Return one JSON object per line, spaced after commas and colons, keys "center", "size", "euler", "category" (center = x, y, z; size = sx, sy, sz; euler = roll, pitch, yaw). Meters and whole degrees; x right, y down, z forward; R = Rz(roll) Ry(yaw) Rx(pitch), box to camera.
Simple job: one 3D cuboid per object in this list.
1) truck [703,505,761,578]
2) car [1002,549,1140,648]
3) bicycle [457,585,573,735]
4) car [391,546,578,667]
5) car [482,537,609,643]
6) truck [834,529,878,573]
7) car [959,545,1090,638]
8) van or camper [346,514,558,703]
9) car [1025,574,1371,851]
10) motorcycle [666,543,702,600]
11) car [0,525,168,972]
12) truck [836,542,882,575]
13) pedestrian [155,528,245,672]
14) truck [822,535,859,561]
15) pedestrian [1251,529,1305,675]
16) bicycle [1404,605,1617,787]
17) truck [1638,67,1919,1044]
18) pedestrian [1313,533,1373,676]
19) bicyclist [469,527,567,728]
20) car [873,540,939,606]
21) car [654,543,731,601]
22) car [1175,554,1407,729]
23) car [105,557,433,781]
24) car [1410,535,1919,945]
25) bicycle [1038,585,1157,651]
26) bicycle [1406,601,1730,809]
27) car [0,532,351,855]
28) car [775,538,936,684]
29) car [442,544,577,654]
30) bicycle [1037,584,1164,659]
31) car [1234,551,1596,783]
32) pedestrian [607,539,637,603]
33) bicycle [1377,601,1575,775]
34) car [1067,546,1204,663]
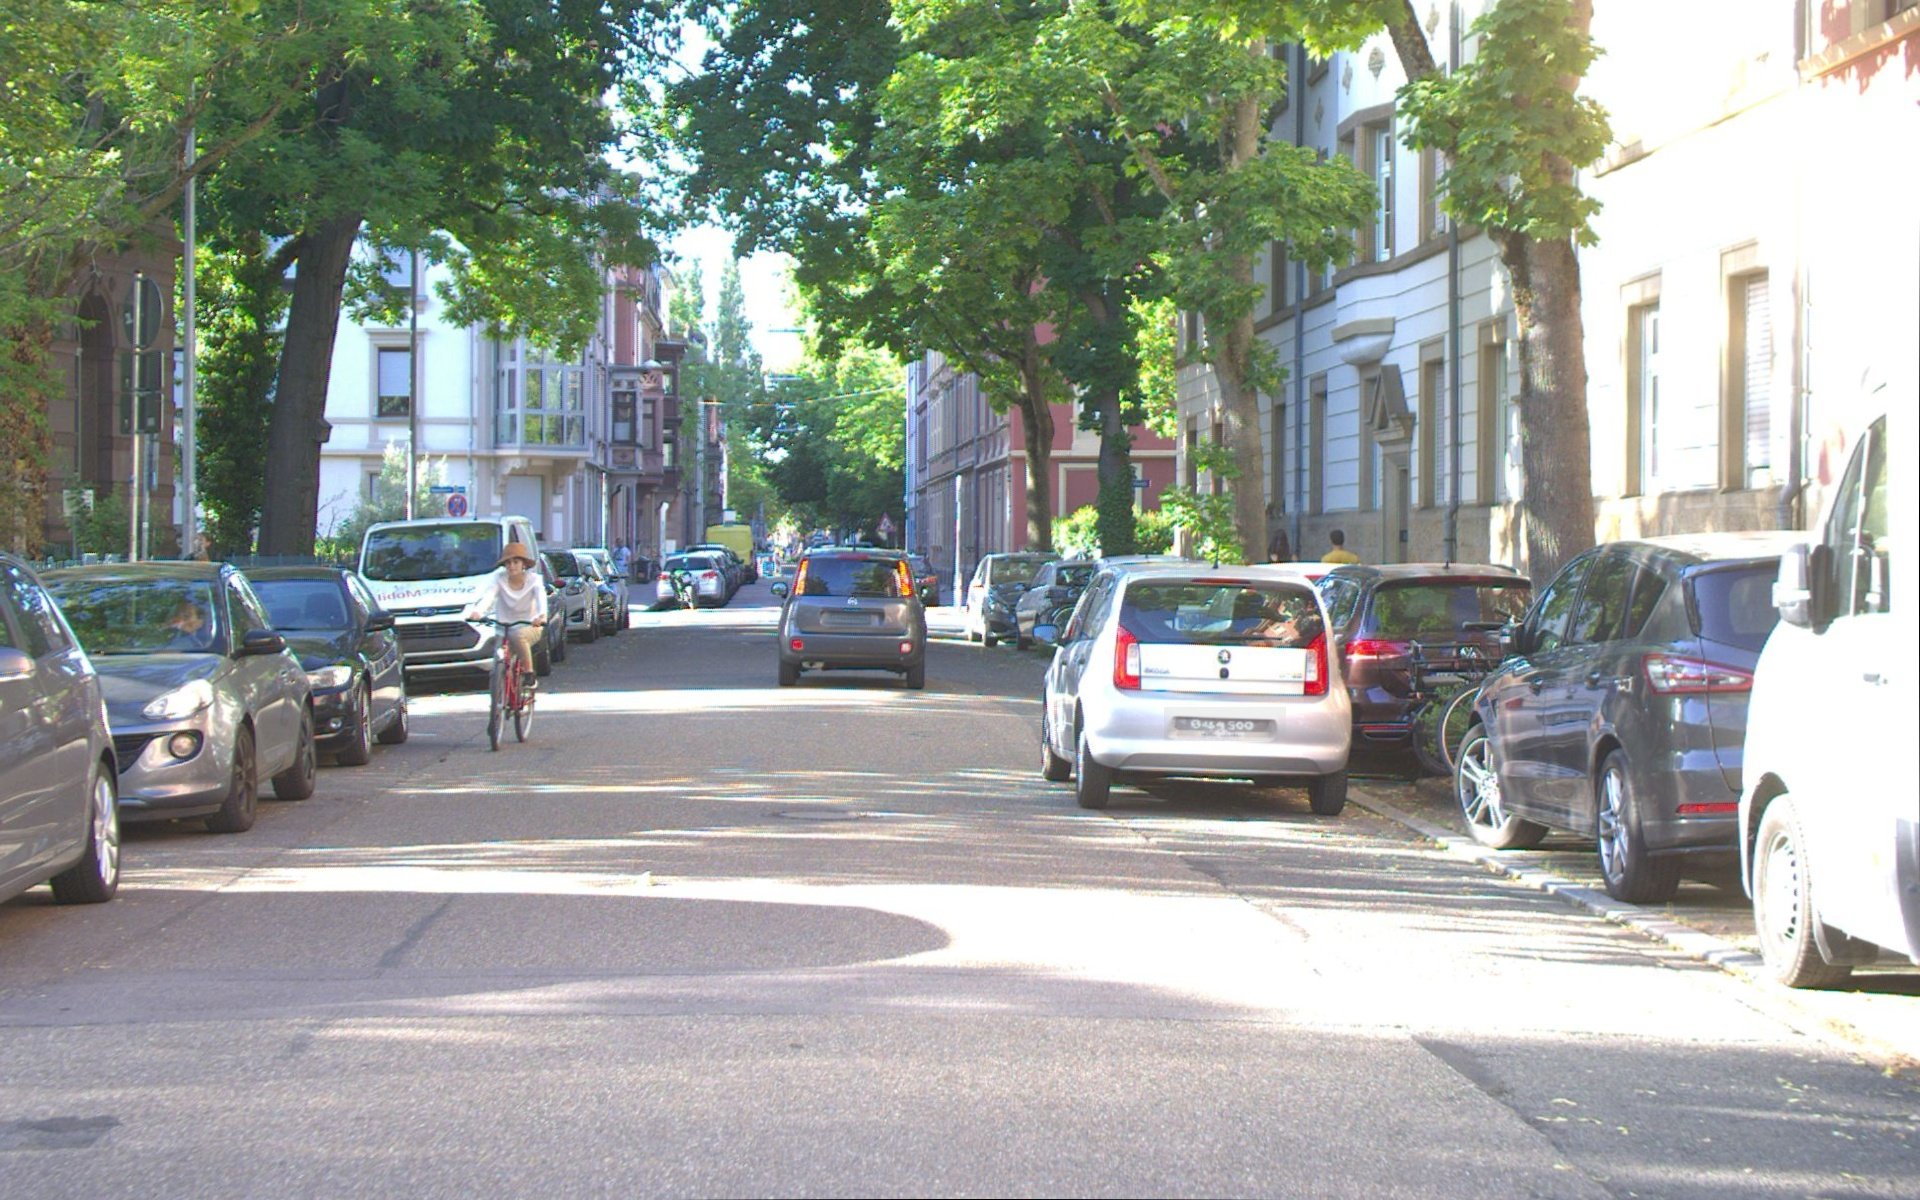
{"center": [-9.621, -2.484, 145.282], "size": [2.070, 2.916, 5.068], "euler": [-4, 1, -2], "category": "truck"}
{"center": [1.720, -0.049, 54.387], "size": [1.610, 1.473, 3.871], "euler": [0, 1, -7], "category": "car"}
{"center": [-3.381, 0.439, 26.211], "size": [0.665, 1.073, 1.685], "euler": [1, 1, 0], "category": "bicycle"}
{"center": [-6.269, 0.049, 45.785], "size": [2.000, 1.452, 4.606], "euler": [-2, 1, -2], "category": "car"}
{"center": [-6.719, -0.187, 56.046], "size": [1.824, 1.548, 4.134], "euler": [-4, 1, -5], "category": "car"}
{"center": [-4.835, -2.285, 159.187], "size": [1.993, 1.985, 4.001], "euler": [0, 1, -3], "category": "truck"}
{"center": [1.089, -0.172, 59.947], "size": [1.788, 1.545, 4.410], "euler": [0, 1, -5], "category": "car"}
{"center": [-5.869, 0.046, 40.278], "size": [1.921, 1.973, 5.462], "euler": [-3, 1, -4], "category": "van or camper"}
{"center": [1.423, 0.641, 21.900], "size": [1.678, 1.539, 3.801], "euler": [1, 1, -4], "category": "car"}
{"center": [-7.181, -0.741, 89.433], "size": [0.696, 1.455, 1.751], "euler": [-1, 1, -12], "category": "motorcycle"}
{"center": [-4.380, 0.535, 13.281], "size": [1.780, 1.585, 4.469], "euler": [-2, 1, -3], "category": "car"}
{"center": [-4.541, -1.861, 153.819], "size": [1.993, 1.451, 4.001], "euler": [0, 1, -3], "category": "truck"}
{"center": [-8.439, -0.004, 38.203], "size": [0.881, 1.572, 0.529], "euler": [1, 1, -2], "category": "pedestrian"}
{"center": [-6.740, -2.916, 193.332], "size": [1.993, 1.451, 4.001], "euler": [0, 1, -3], "category": "truck"}
{"center": [3.843, 0.016, 41.605], "size": [0.520, 1.729, 0.878], "euler": [1, 1, -1], "category": "pedestrian"}
{"center": [3.554, 0.615, 22.219], "size": [1.307, 1.136, 0.328], "euler": [-1, 1, -3], "category": "bicycle"}
{"center": [3.933, -0.152, 10.485], "size": [2.073, 2.958, 6.110], "euler": [-2, 1, -3], "category": "truck"}
{"center": [4.628, 0.047, 41.563], "size": [0.595, 1.696, 0.689], "euler": [1, 1, -1], "category": "pedestrian"}
{"center": [-3.371, 0.202, 26.258], "size": [0.651, 1.503, 0.625], "euler": [1, 1, -1], "category": "bicyclist"}
{"center": [-1.440, -0.725, 90.494], "size": [1.663, 1.663, 3.757], "euler": [1, 1, -2], "category": "car"}
{"center": [-7.196, -0.780, 92.732], "size": [1.797, 1.427, 3.925], "euler": [-3, 1, -2], "category": "car"}
{"center": [2.975, 0.332, 31.513], "size": [1.596, 1.483, 3.748], "euler": [-1, 1, -2], "category": "car"}
{"center": [-5.060, 0.437, 25.770], "size": [1.713, 1.390, 4.780], "euler": [-4, 1, -4], "category": "car"}
{"center": [3.645, 0.538, 16.903], "size": [1.885, 1.710, 4.945], "euler": [0, 1, -4], "category": "car"}
{"center": [2.038, 0.261, 51.075], "size": [1.715, 0.946, 0.733], "euler": [-1, 1, -2], "category": "bicycle"}
{"center": [3.664, 0.623, 20.770], "size": [1.810, 1.163, 0.569], "euler": [-2, 1, -3], "category": "bicycle"}
{"center": [-4.634, 0.445, 19.481], "size": [1.676, 1.567, 4.152], "euler": [-3, 1, -2], "category": "car"}
{"center": [-1.201, 0.091, 38.302], "size": [1.632, 1.545, 3.265], "euler": [0, 1, -5], "category": "car"}
{"center": [-6.596, -0.049, 50.678], "size": [1.601, 1.455, 4.028], "euler": [-3, 1, -3], "category": "car"}
{"center": [2.030, 0.307, 49.852], "size": [1.769, 1.036, 0.606], "euler": [1, 1, -2], "category": "bicycle"}
{"center": [3.234, 0.419, 25.296], "size": [1.786, 1.508, 4.460], "euler": [1, 1, -3], "category": "car"}
{"center": [-9.843, -0.846, 100.152], "size": [0.723, 1.833, 0.626], "euler": [1, 1, 9], "category": "pedestrian"}
{"center": [3.278, 0.554, 21.859], "size": [1.200, 1.072, 0.298], "euler": [-1, 1, -3], "category": "bicycle"}
{"center": [2.330, 0.032, 46.332], "size": [1.520, 1.505, 3.544], "euler": [0, 1, -2], "category": "car"}
